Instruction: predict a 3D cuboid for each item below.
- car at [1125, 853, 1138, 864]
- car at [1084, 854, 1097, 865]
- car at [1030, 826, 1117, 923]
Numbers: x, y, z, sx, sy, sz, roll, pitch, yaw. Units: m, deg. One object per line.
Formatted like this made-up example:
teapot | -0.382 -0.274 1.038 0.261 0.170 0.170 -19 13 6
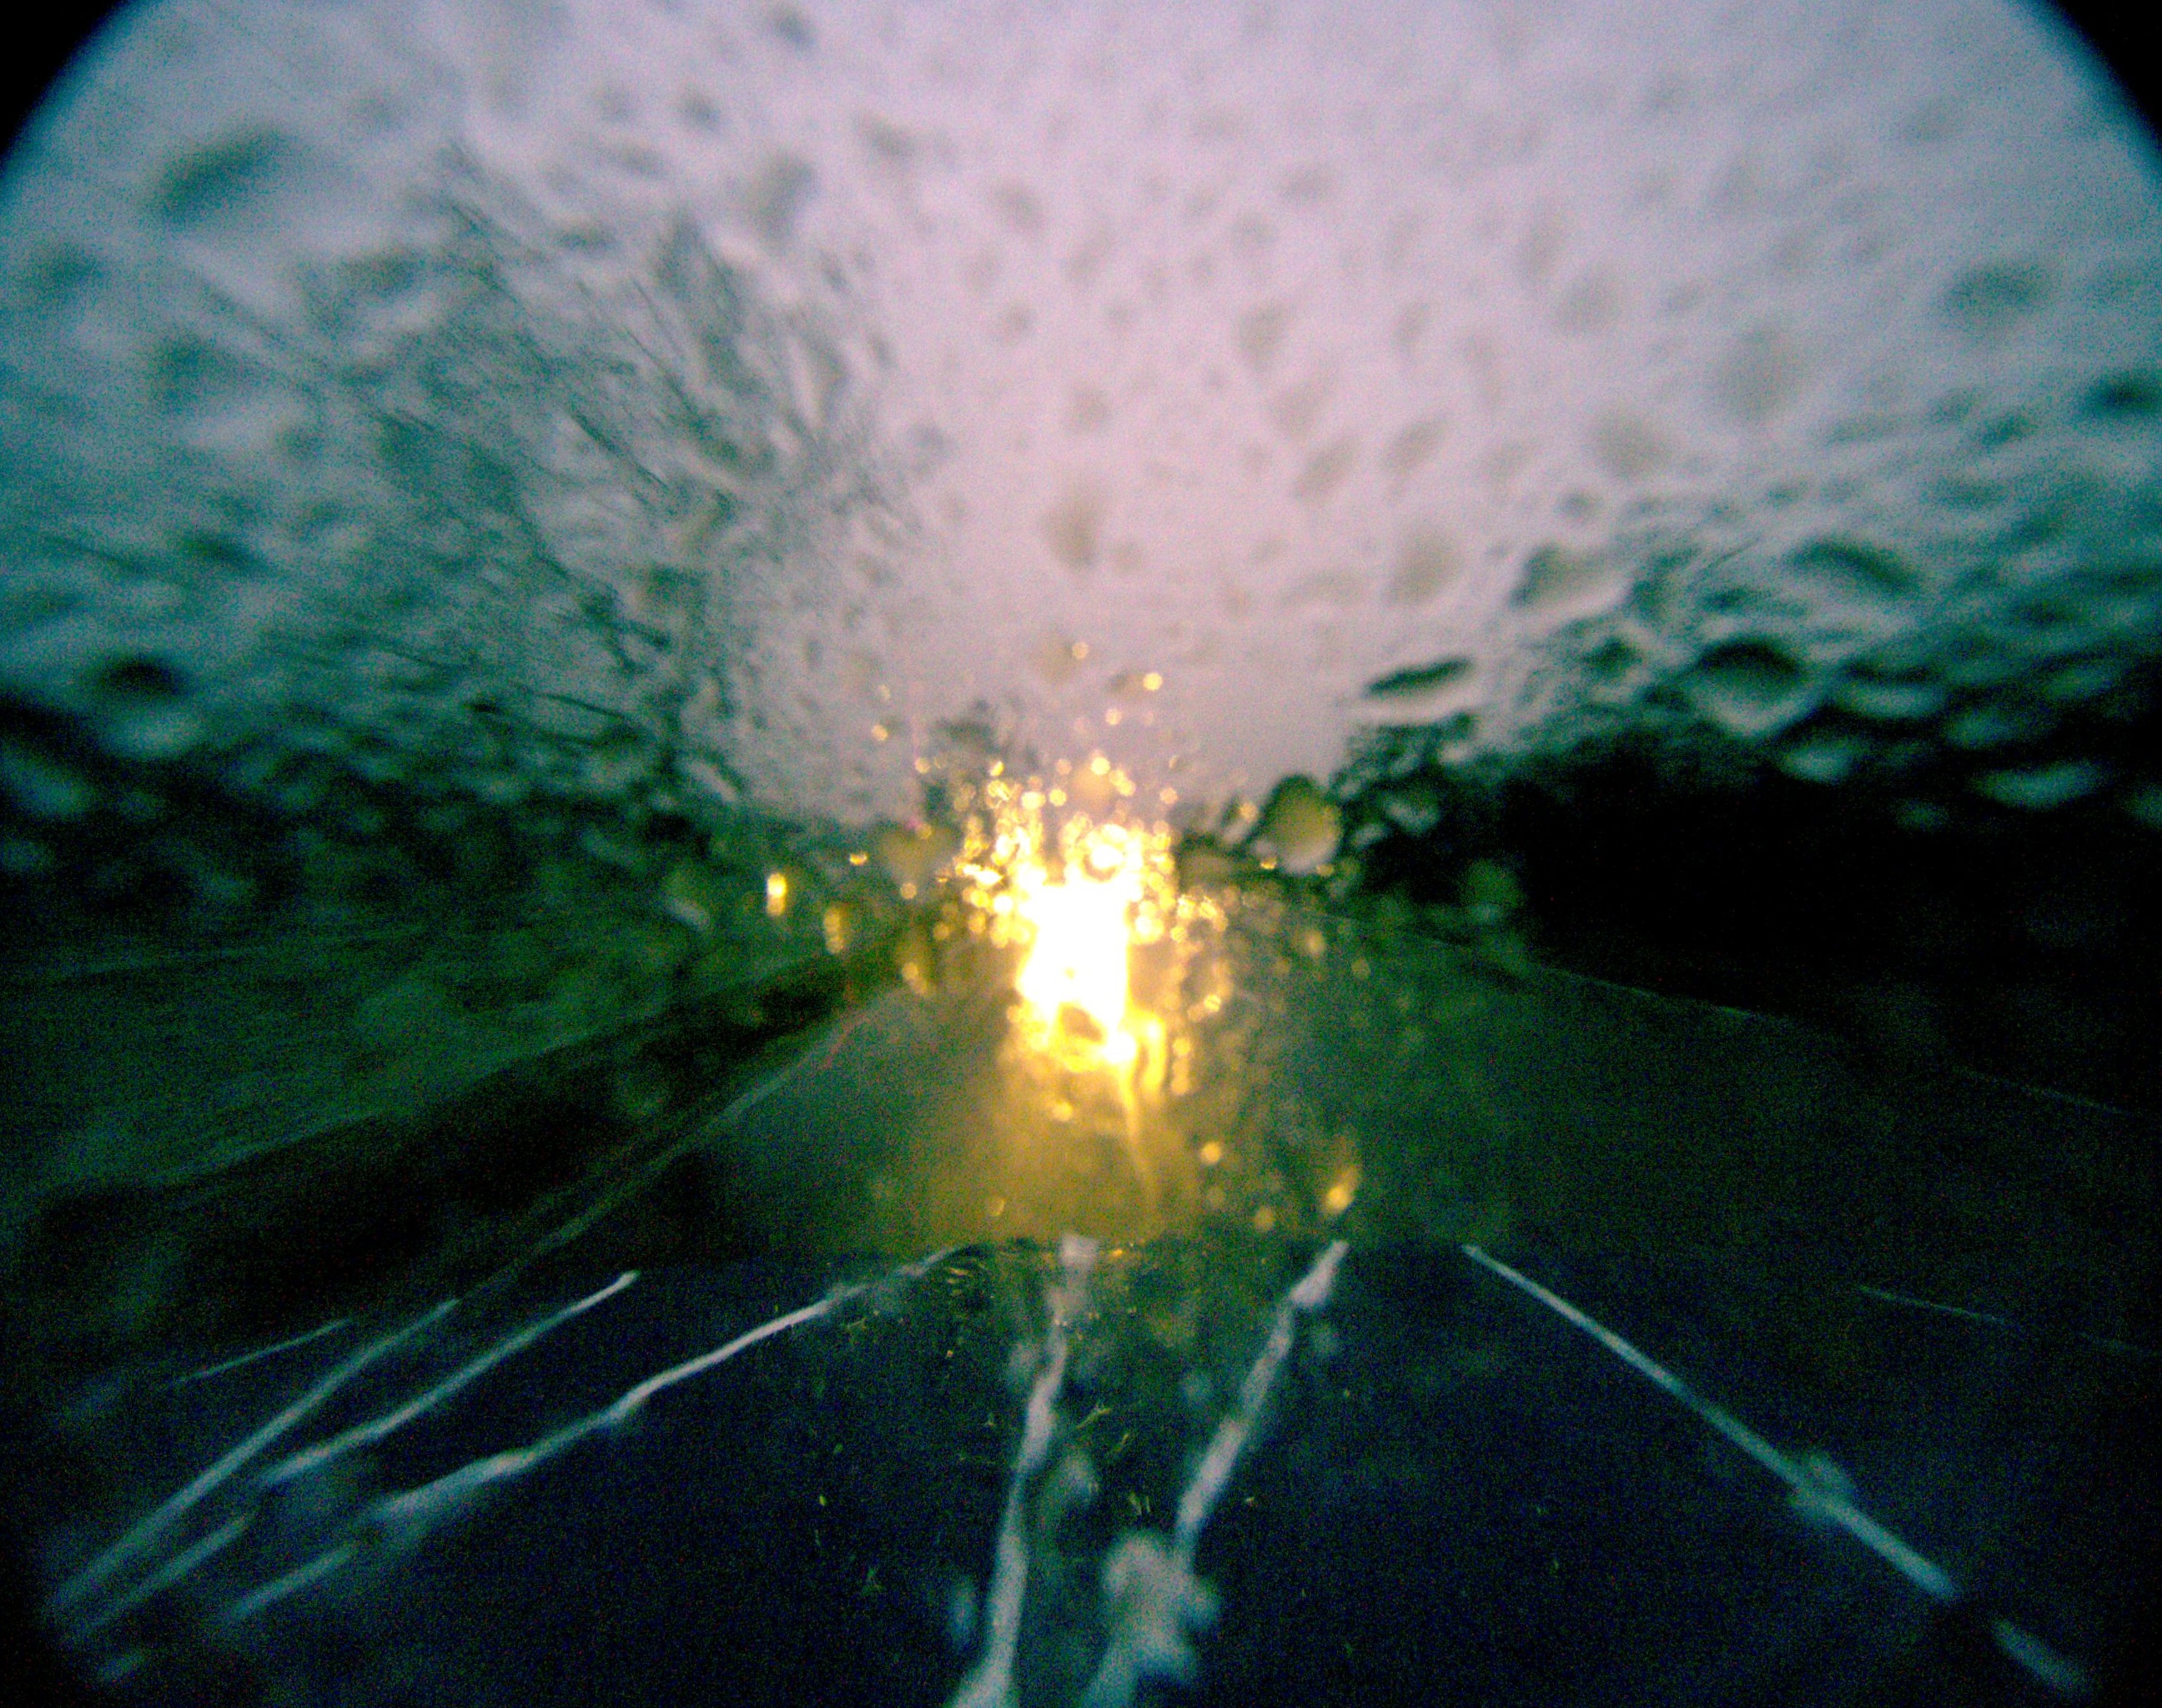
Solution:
car | 8.312 0.756 124.585 1.912 1.654 3.928 -2 1 1
car | 1.456 0.765 116.231 1.913 1.549 3.928 -2 1 0
car | -0.140 0.467 20.060 1.953 2.195 4.534 -2 1 1
